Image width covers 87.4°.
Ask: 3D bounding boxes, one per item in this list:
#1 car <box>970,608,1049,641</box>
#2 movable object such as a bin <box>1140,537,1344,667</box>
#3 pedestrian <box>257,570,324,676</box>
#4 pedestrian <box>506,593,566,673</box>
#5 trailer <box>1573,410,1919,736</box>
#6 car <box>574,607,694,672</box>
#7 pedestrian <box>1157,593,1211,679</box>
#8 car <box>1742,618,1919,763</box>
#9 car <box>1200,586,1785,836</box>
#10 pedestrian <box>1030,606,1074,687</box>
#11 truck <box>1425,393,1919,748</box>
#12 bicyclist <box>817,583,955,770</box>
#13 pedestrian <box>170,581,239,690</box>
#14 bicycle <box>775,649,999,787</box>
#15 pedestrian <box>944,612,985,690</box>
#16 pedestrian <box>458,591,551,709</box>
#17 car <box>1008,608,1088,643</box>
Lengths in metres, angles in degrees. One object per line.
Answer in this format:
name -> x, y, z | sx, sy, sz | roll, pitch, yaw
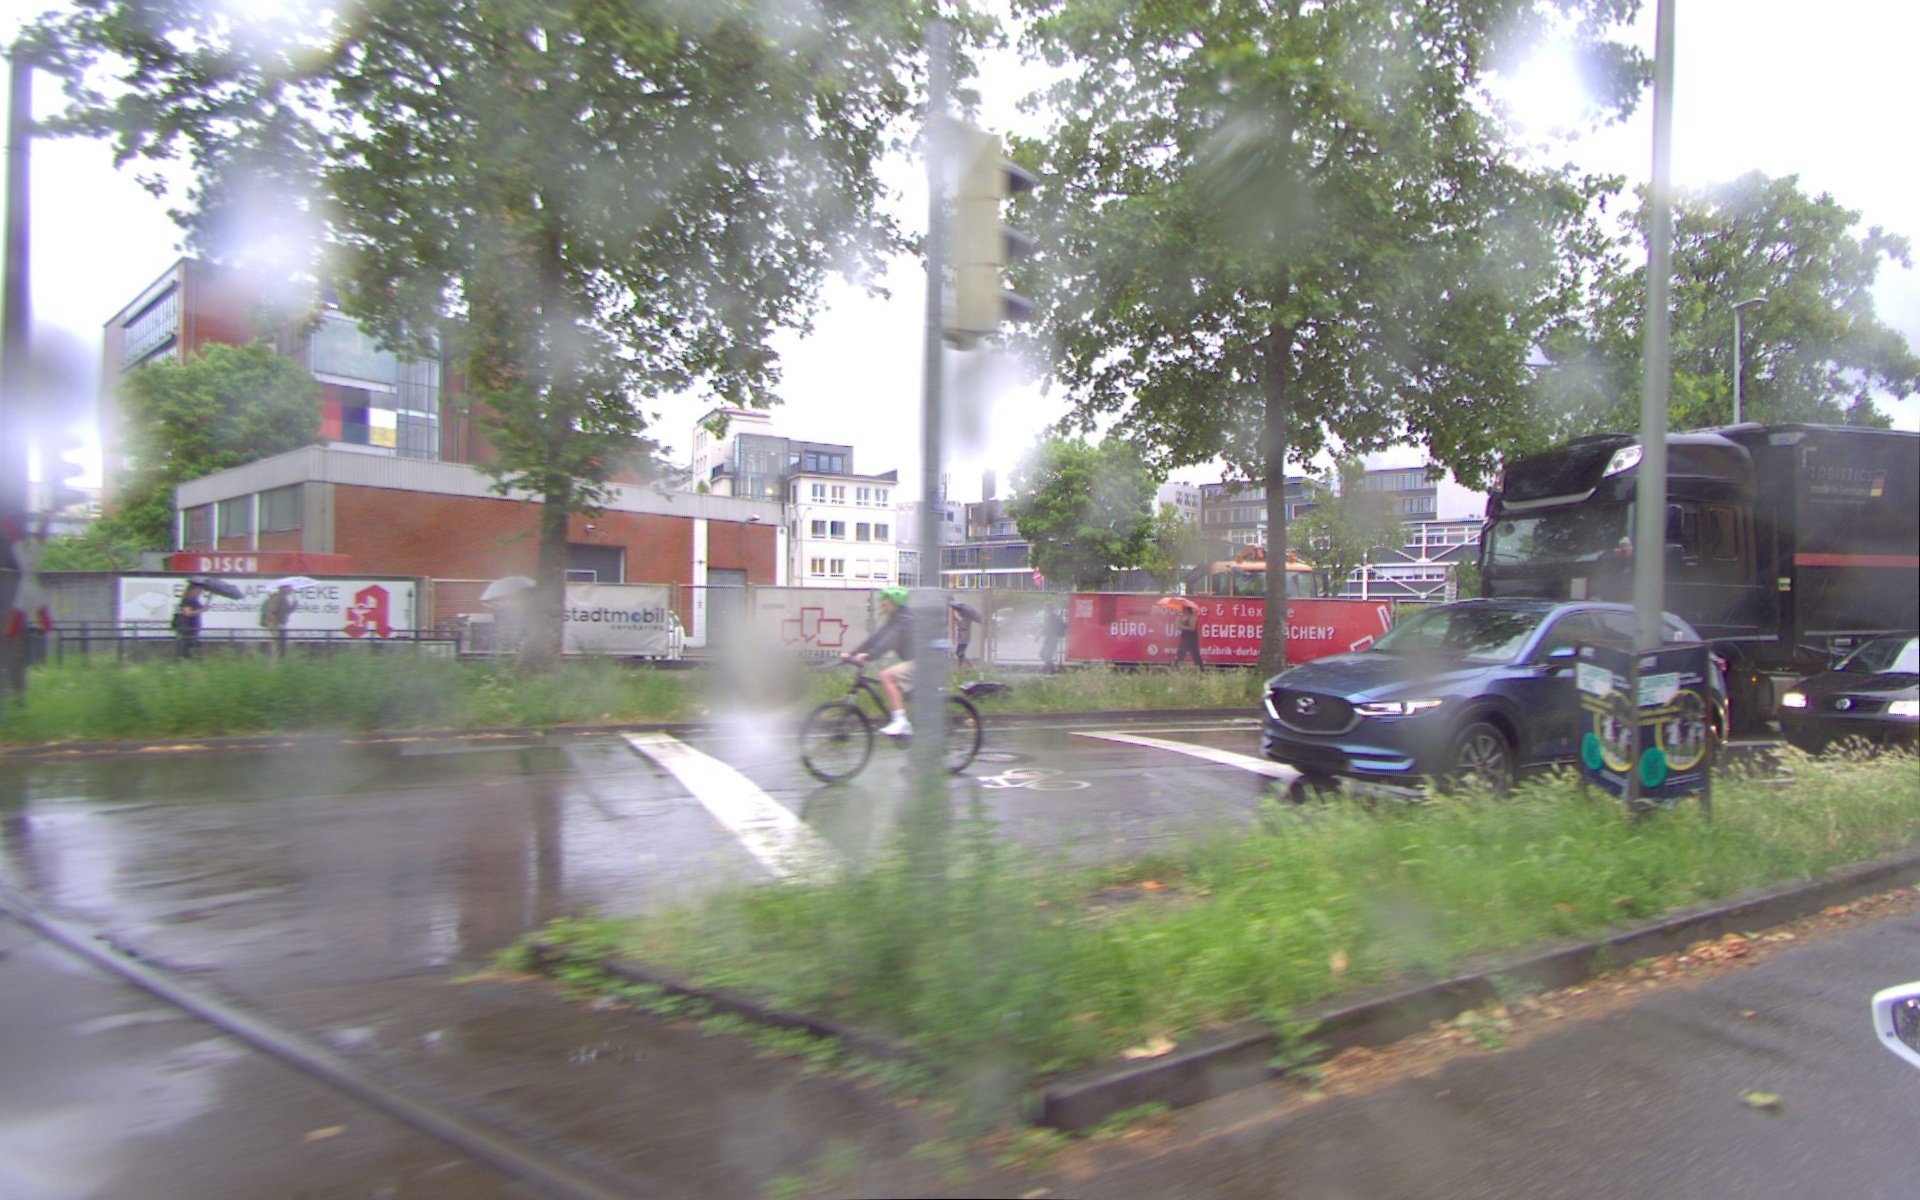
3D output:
car -> 2.781, 1.324, 55.322 | 1.968, 1.746, 4.884 | 0, 0, 37
movable object such as a bin -> 7.103, 0.077, 26.449 | 2.723, 2.969, 6.770 | 1, 0, -7
pedestrian -> -12.290, 0.419, 18.438 | 0.943, 1.887, 0.844 | -1, -1, 45
pedestrian -> -8.379, 0.645, 19.845 | 0.818, 1.524, 0.844 | -1, -2, 45
trailer -> 17.263, -0.223, 16.640 | 14.813, 4.102, 3.440 | 1, -1, -19
car -> -7.463, 0.867, 23.340 | 1.808, 1.339, 3.663 | 1, 0, -4
pedestrian -> 4.481, 0.705, 20.065 | 0.891, 1.671, 0.753 | 0, -1, 26
car -> 10.943, 0.912, 11.230 | 4.039, 1.391, 1.695 | 0, 0, -22
car -> 4.762, 0.751, 8.965 | 4.861, 1.705, 2.068 | 0, 2, -24
pedestrian -> 1.865, 0.929, 20.401 | 0.863, 1.602, 0.643 | 0, -1, 4
truck -> 10.731, -0.299, 14.452 | 6.864, 4.133, 3.447 | 1, 0, -19
bicyclist -> -0.621, 0.619, 8.472 | 1.000, 1.480, 0.576 | 1, -1, -32
pedestrian -> -13.596, 0.624, 18.067 | 0.943, 1.887, 0.844 | -1, -1, 45
bicycle -> -0.585, 0.948, 8.480 | 1.853, 1.038, 0.529 | 1, -1, -32
pedestrian -> 0.094, 1.006, 20.115 | 0.756, 1.535, 0.643 | 0, -1, 4
pedestrian -> -7.925, 0.858, 17.530 | 1.192, 1.990, 0.911 | 1, -1, -5
car -> 4.779, 1.338, 53.812 | 1.968, 1.760, 4.884 | 0, 0, 37
